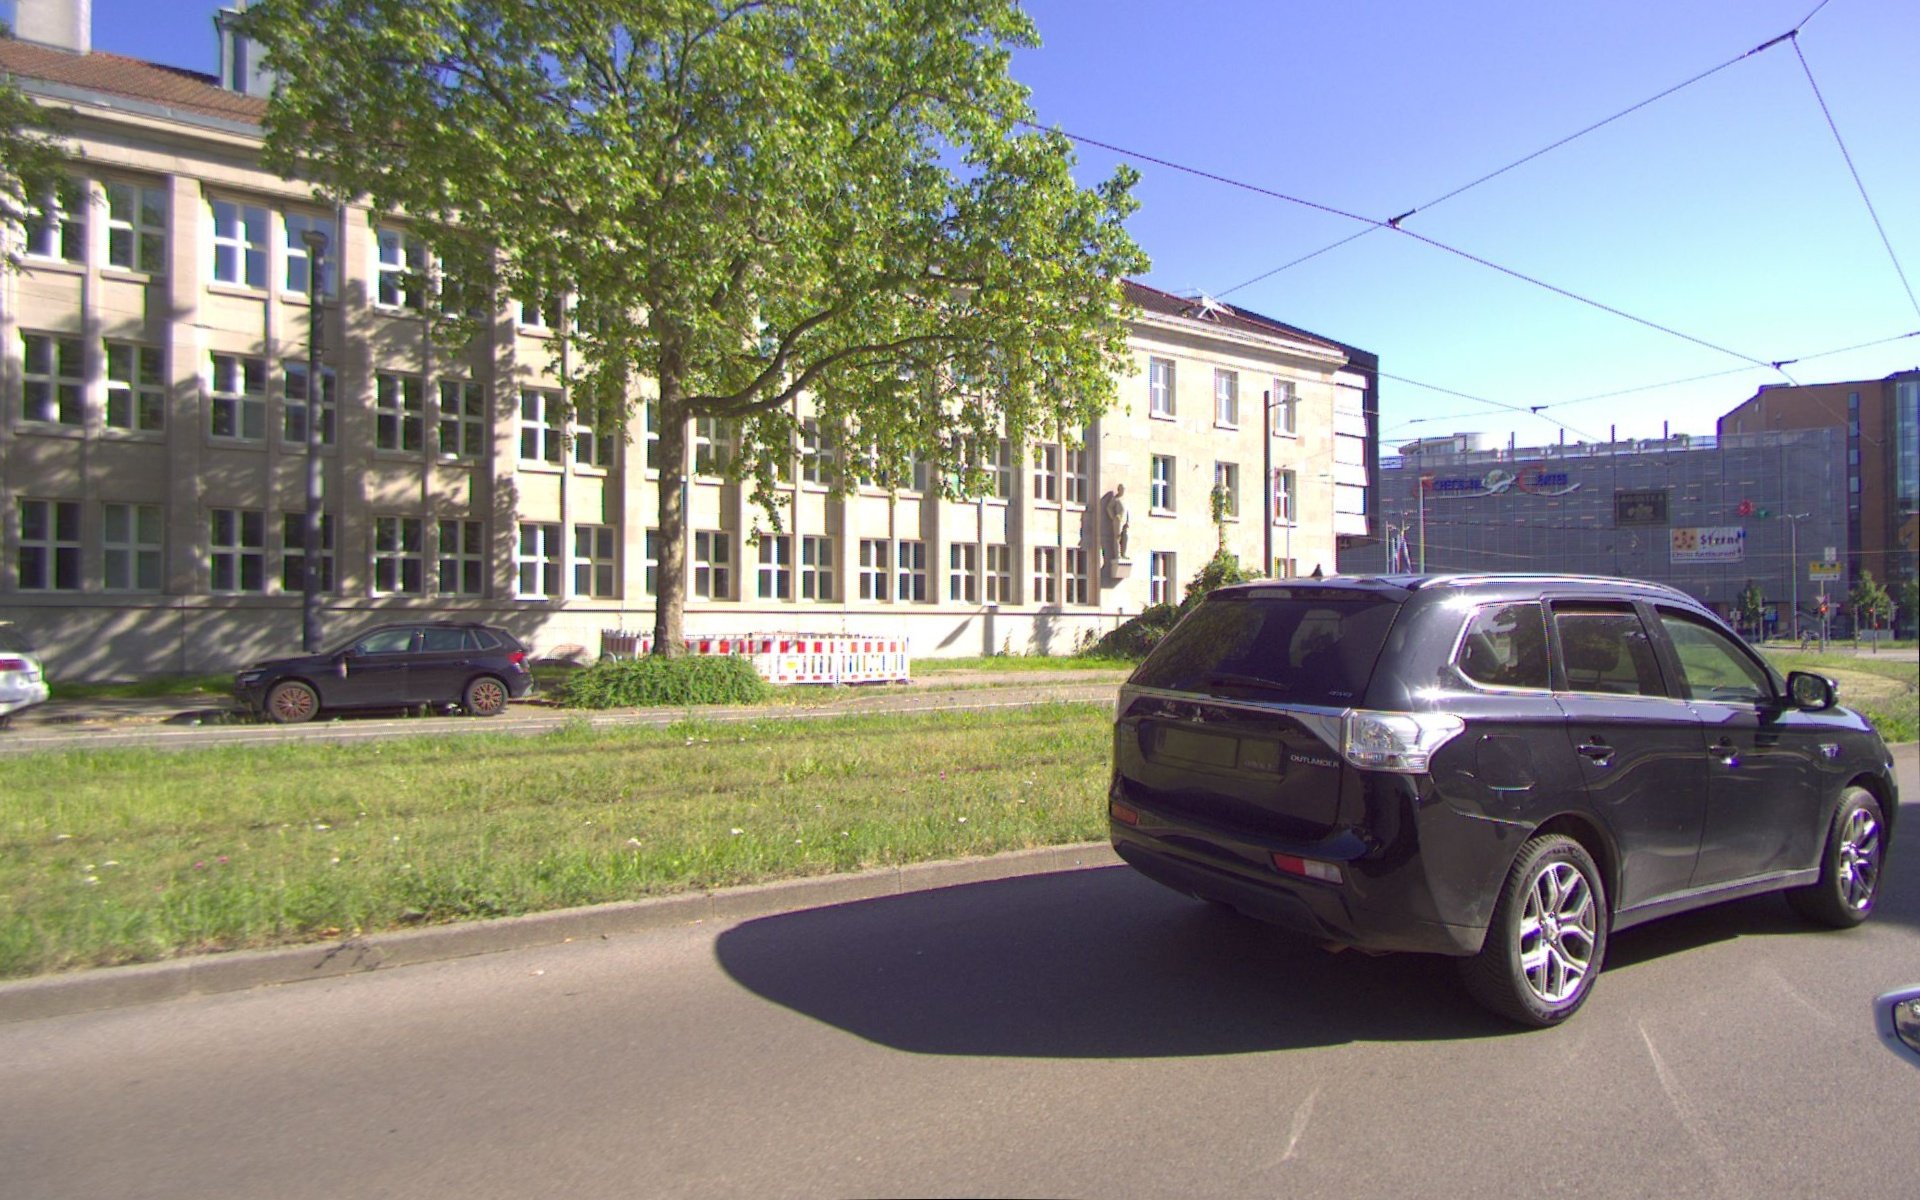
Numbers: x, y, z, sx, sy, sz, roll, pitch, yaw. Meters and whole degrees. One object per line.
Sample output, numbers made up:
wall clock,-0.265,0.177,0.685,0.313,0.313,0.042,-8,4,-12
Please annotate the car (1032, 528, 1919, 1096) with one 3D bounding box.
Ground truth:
car,2.791,0.704,4.951,4.588,1.704,1.827,2,0,-30

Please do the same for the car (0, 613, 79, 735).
car,-14.612,0.951,13.142,4.347,1.608,1.820,2,-2,-32

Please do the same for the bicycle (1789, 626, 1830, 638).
bicycle,94.198,3.542,111.417,3.310,1.092,1.115,2,1,28

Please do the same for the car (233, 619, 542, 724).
car,-9.115,1.079,16.317,4.131,1.512,1.822,1,-2,-29

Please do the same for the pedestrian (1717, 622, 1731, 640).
pedestrian,77.920,3.149,102.457,0.839,1.761,0.754,1,0,16

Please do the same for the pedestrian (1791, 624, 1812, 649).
pedestrian,58.015,2.507,69.251,0.871,1.730,0.712,1,0,22

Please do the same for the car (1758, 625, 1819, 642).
car,82.080,3.297,99.572,4.414,1.514,1.494,1,0,22
